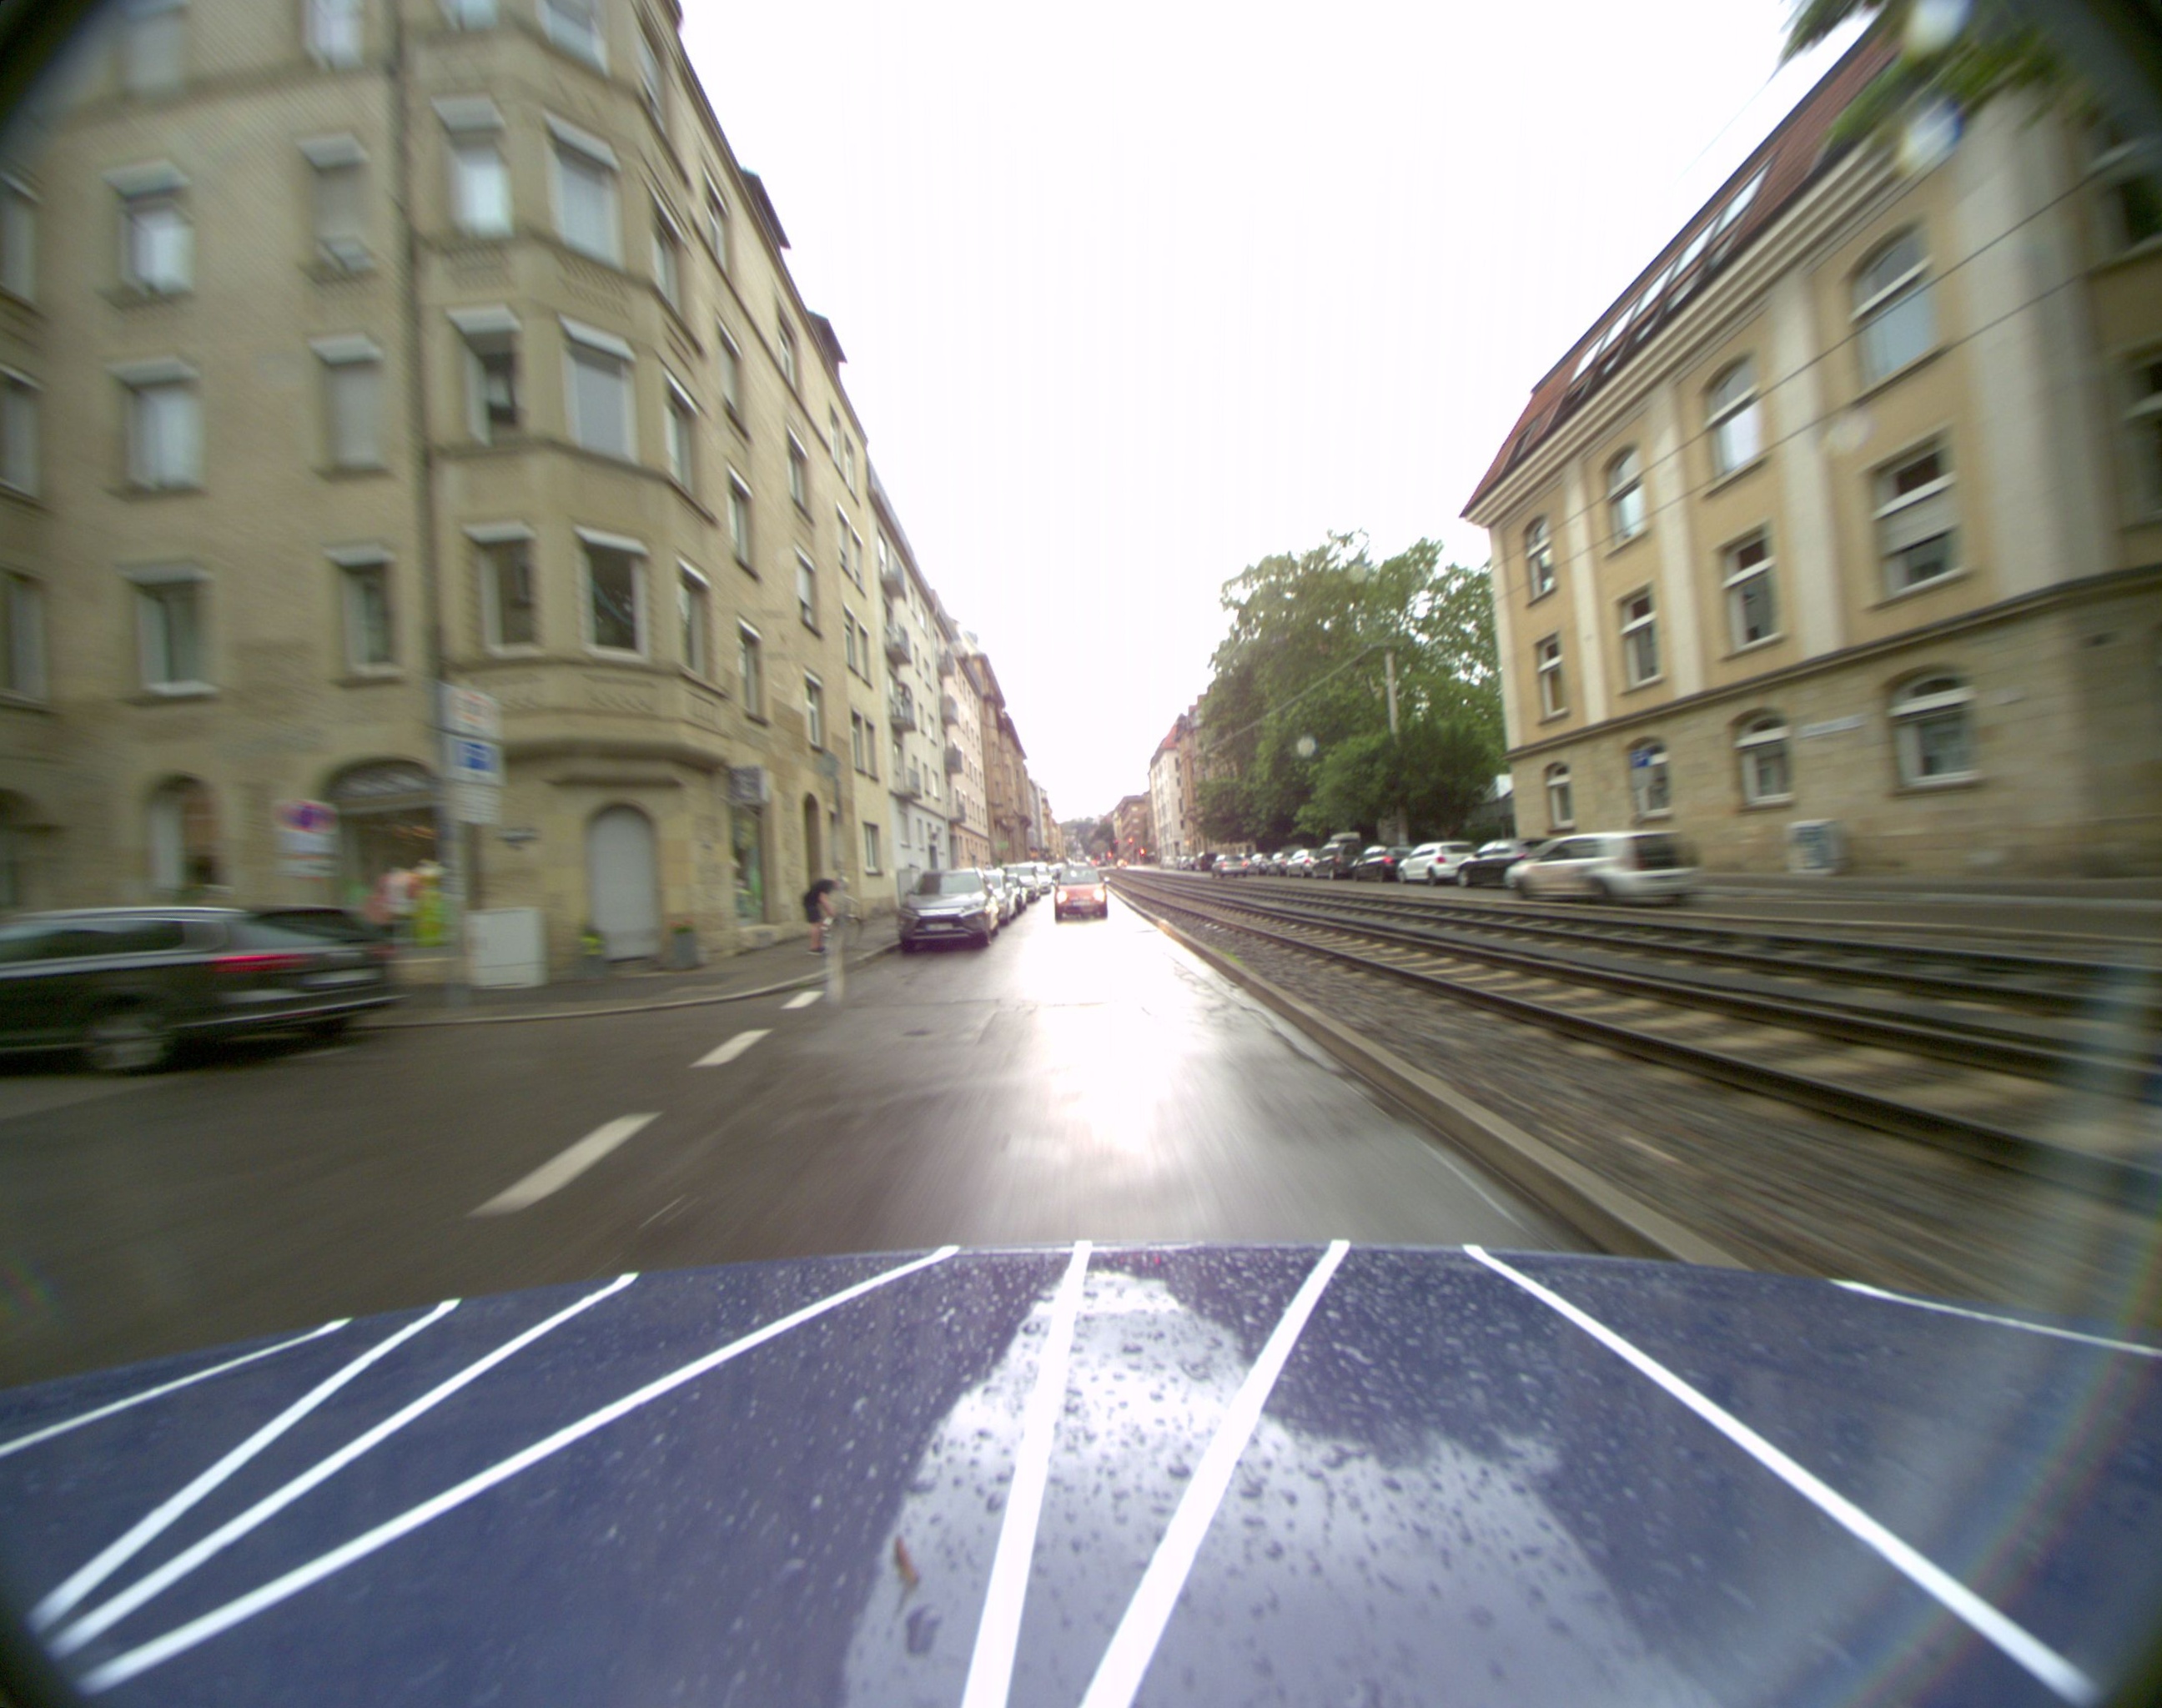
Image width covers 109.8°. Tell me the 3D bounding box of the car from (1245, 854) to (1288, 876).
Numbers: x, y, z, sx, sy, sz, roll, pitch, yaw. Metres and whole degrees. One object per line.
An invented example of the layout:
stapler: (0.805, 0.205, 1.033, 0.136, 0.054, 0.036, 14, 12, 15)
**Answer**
car: (12.287, 0.703, 50.687, 1.759, 1.405, 4.153, -2, 0, -1)

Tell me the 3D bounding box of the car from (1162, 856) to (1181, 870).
car: (12.046, 1.193, 101.649, 1.863, 1.643, 4.314, -4, 0, -1)

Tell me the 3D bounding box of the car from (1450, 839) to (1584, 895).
car: (12.488, 0.360, 22.058, 1.618, 1.421, 3.852, -3, 0, -1)

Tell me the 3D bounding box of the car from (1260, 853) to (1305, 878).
car: (12.168, 0.676, 46.074, 1.543, 1.405, 3.952, -2, 0, -1)

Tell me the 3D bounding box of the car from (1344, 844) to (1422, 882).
car: (12.483, 0.347, 31.641, 1.679, 1.405, 4.010, -2, 0, 1)

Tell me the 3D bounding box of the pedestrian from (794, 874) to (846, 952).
pedestrian: (-4.836, 1.076, 14.118, 0.672, 1.362, 0.642, -3, 1, 0)

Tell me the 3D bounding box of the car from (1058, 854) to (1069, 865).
car: (-2.986, 0.912, 132.814, 1.797, 1.750, 4.565, -3, 0, -1)

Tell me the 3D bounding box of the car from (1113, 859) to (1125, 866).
car: (7.881, 1.725, 157.681, 1.987, 1.448, 4.293, -3, 0, -1)

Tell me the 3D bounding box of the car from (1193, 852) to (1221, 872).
car: (12.230, 0.739, 73.986, 1.805, 1.836, 4.818, -2, 0, 0)

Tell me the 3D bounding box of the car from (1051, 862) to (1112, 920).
car: (0.010, 1.096, 23.903, 1.683, 1.531, 4.018, -3, 0, 0)

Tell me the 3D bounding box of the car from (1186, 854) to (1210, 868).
car: (12.354, 0.728, 80.631, 1.767, 1.390, 4.269, -2, 0, -1)

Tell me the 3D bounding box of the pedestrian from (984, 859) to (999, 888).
pedestrian: (-5.615, 1.211, 47.796, 0.747, 1.823, 1.039, -1, 0, 1)

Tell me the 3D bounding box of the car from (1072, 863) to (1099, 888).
car: (0.365, 1.847, 66.934, 2.135, 2.002, 4.328, -3, 0, 0)

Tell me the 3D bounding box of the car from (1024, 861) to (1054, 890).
car: (-2.777, 1.395, 51.009, 1.795, 1.755, 4.211, -3, 0, -1)

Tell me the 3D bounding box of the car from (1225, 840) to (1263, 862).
car: (11.897, -0.197, 55.856, 1.758, 1.527, 4.542, -2, 0, 0)

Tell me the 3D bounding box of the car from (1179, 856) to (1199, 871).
car: (12.246, 1.073, 86.375, 1.699, 1.515, 3.855, -2, 0, 0)

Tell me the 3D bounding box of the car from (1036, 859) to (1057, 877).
car: (-2.920, 1.170, 65.388, 1.674, 1.402, 4.311, -3, 0, -2)

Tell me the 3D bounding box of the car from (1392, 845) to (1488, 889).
car: (12.472, 0.419, 26.669, 1.504, 1.383, 3.987, -2, 0, 1)

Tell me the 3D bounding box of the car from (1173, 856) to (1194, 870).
car: (12.349, 1.065, 91.475, 1.875, 1.499, 4.169, -3, 0, 0)

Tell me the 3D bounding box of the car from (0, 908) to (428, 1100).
car: (-9.475, 1.404, 7.523, 4.461, 1.476, 1.864, -2, 0, 3)

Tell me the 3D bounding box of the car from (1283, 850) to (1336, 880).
car: (12.374, 0.577, 41.401, 1.543, 1.496, 4.154, -2, 0, -1)

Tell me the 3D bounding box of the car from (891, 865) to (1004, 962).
car: (-2.767, 1.170, 16.719, 1.771, 1.658, 4.331, -4, 0, -2)

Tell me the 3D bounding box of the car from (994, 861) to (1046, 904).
car: (-2.777, 1.256, 35.439, 1.833, 1.740, 4.467, -4, 0, 1)

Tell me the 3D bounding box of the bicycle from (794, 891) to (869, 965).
bicycle: (-4.591, 1.329, 14.145, 0.623, 1.128, 2.127, -3, 1, 0)

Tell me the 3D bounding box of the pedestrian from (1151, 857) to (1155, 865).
pedestrian: (14.602, 1.396, 154.878, 0.603, 1.708, 0.746, -6, 0, 3)

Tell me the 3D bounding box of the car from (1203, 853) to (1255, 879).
car: (9.392, 0.745, 48.546, 1.823, 1.496, 4.631, -4, 0, -7)

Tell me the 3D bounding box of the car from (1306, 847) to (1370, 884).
car: (12.326, 0.509, 36.678, 1.580, 1.633, 4.071, -2, 0, -1)

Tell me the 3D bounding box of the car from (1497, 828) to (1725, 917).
car: (10.604, 0.348, 15.581, 1.663, 1.488, 3.784, -4, 0, -7)

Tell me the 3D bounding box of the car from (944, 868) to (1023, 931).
car: (-2.788, 1.270, 22.576, 1.697, 1.520, 4.000, -4, 0, 0)

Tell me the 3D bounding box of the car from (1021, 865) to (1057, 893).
car: (-2.454, 1.444, 45.149, 1.876, 1.447, 4.902, -3, 0, -1)

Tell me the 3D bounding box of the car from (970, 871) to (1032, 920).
car: (-2.758, 1.411, 27.109, 1.722, 1.339, 4.461, -4, 0, -1)
